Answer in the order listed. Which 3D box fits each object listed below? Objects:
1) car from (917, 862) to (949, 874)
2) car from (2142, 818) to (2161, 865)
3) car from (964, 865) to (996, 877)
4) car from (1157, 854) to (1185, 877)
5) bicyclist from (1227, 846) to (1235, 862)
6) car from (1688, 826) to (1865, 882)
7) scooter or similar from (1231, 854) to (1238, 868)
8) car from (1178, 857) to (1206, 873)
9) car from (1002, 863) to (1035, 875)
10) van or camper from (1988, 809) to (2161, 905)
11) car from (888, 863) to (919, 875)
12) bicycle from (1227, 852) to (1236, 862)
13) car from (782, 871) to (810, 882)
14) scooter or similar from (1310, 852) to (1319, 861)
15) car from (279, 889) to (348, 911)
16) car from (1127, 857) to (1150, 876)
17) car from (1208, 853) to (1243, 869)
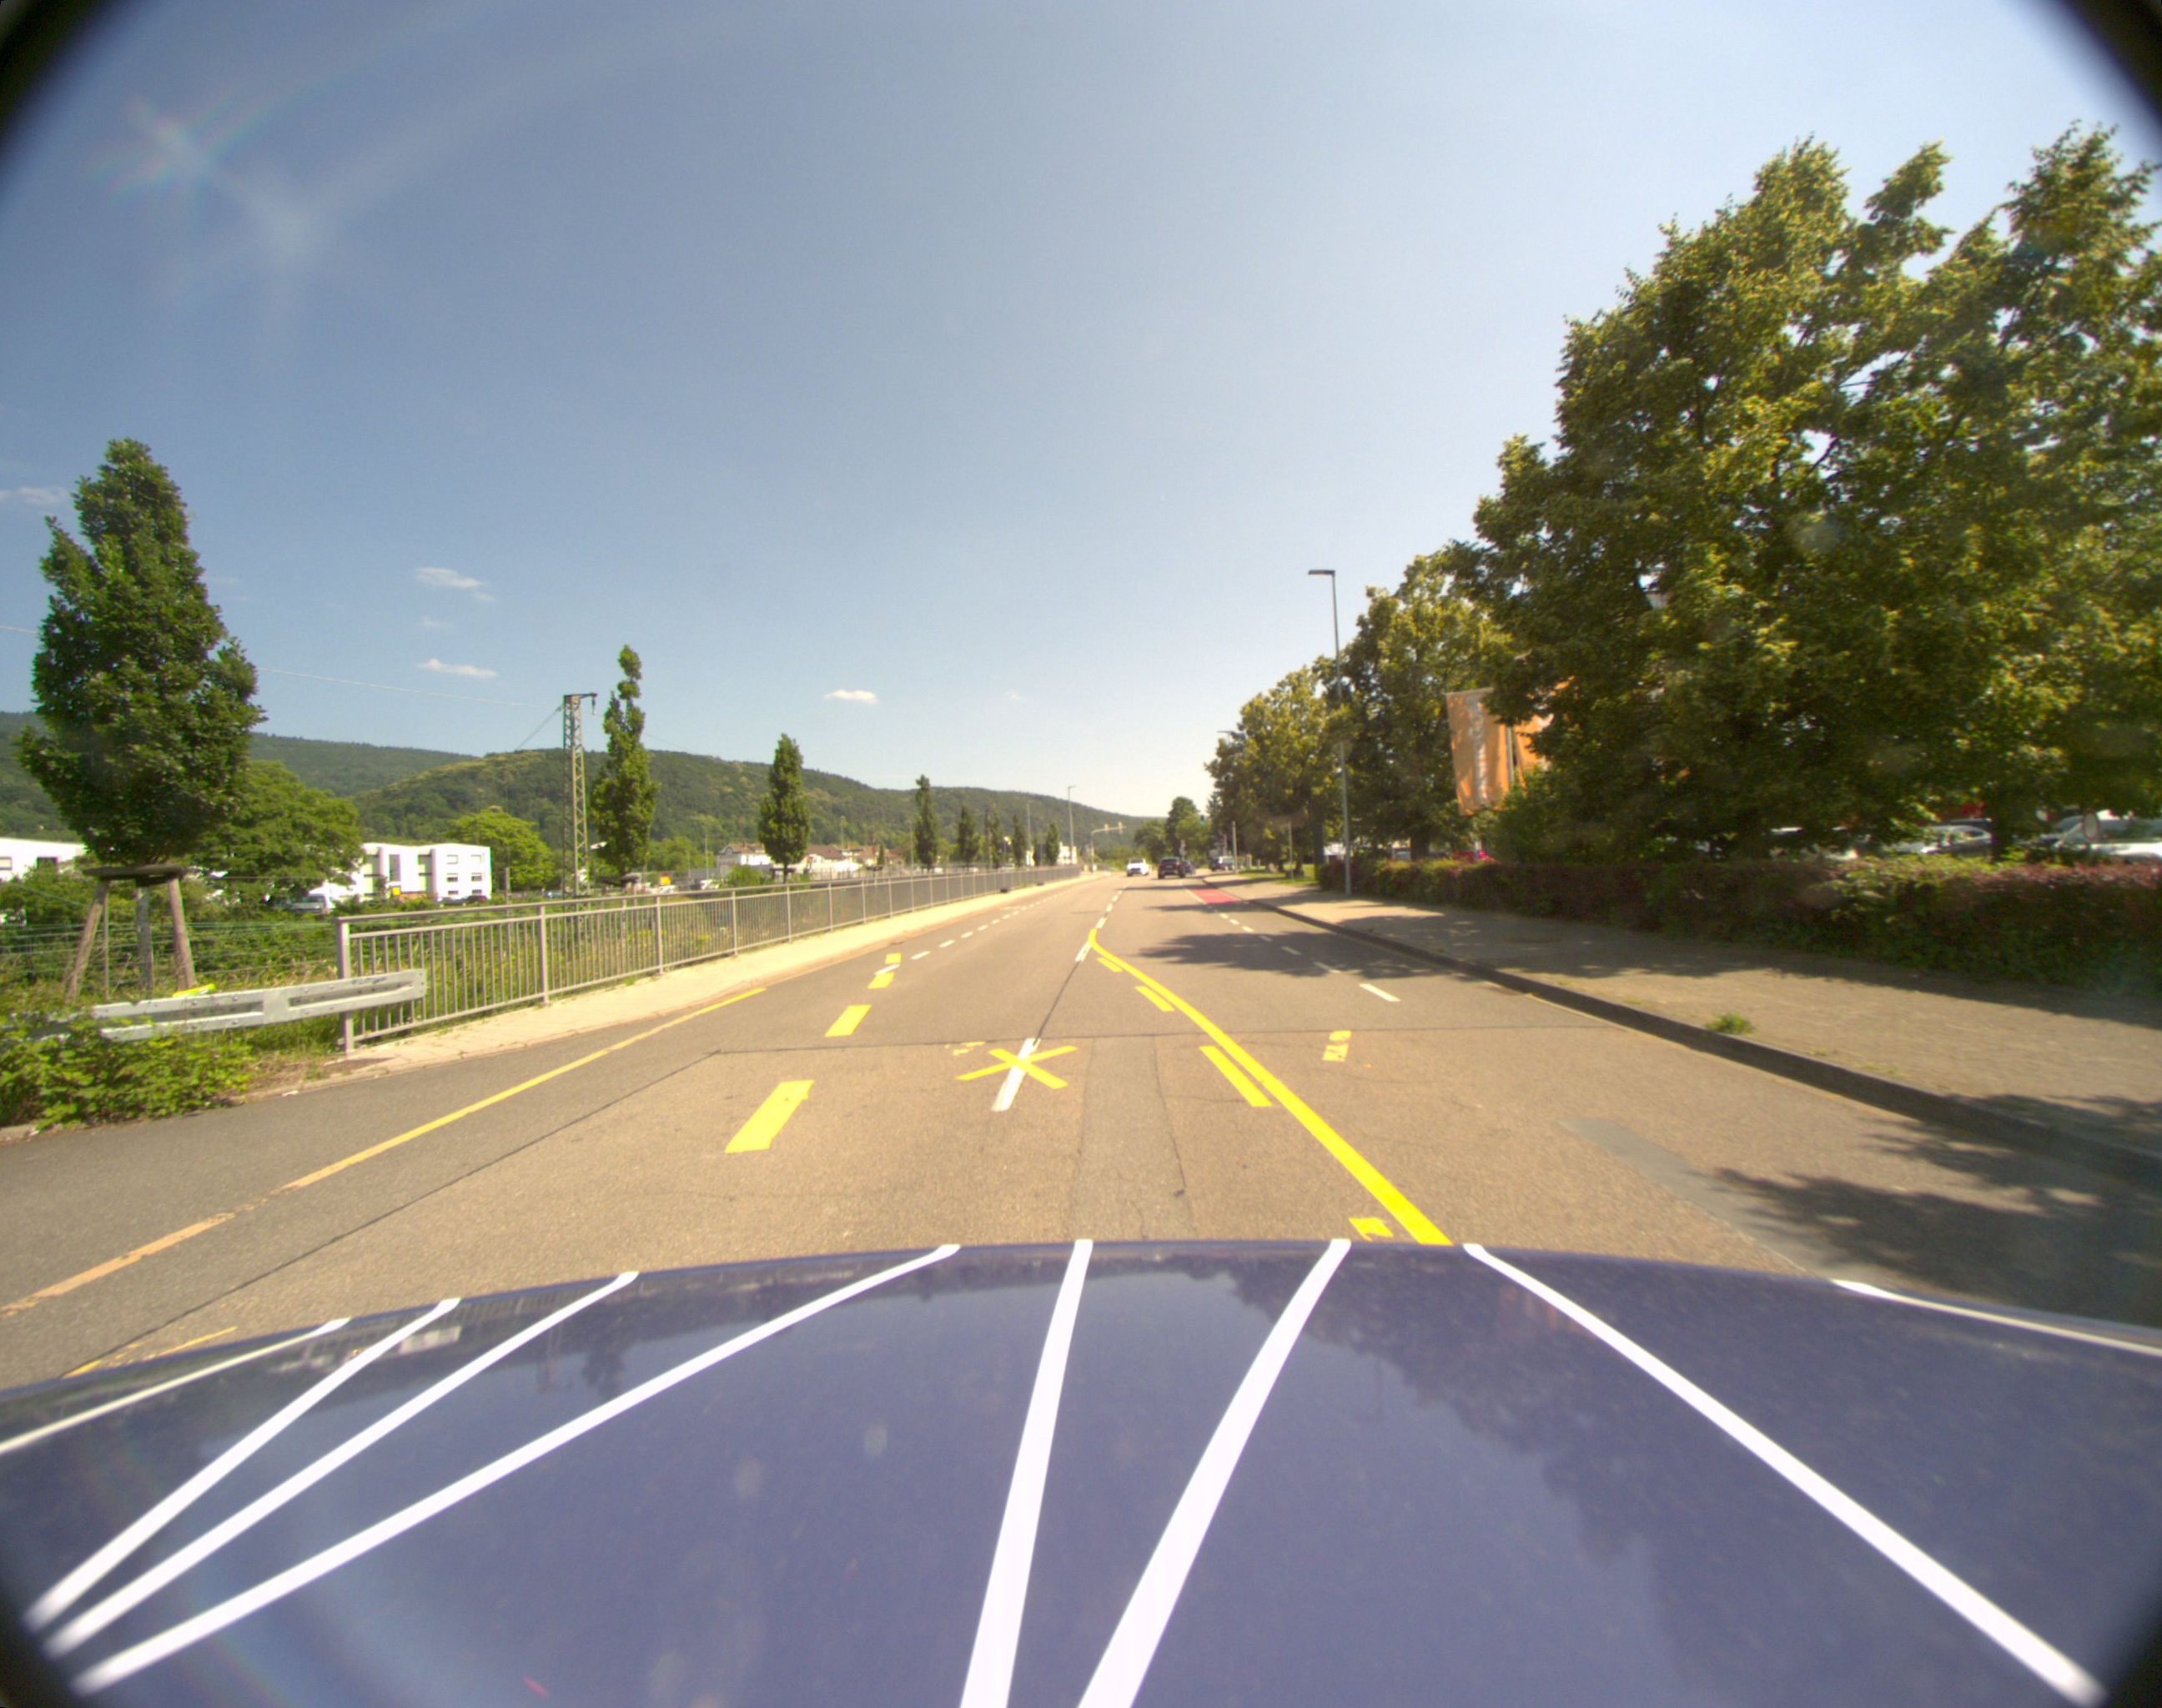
[{"bbox_3d":[-22.445,2.133,115.172,4.432,1.616,1.740,-3,-1,25],"label":"car"},{"bbox_3d":[32.657,-0.413,21.091,1.591,1.368,3.342,-2,-1,-11],"label":"car"},{"bbox_3d":[-14.737,2.466,110.870,4.431,1.616,1.740,-3,-1,30],"label":"car"},{"bbox_3d":[7.038,0.872,59.020,1.954,1.685,4.616,-2,-1,8],"label":"car"},{"bbox_3d":[16.755,0.000,84.651,0.711,1.778,0.810,-2,0,20],"label":"bicyclist"},{"bbox_3d":[24.145,0.041,26.603,1.719,1.725,4.242,-2,-1,-18],"label":"car"},{"bbox_3d":[13.460,0.582,66.581,0.472,1.177,1.367,-2,0,18],"label":"scooter or similar"},{"bbox_3d":[10.184,0.964,69.555,1.658,1.372,4.006,-3,-1,21],"label":"car"},{"bbox_3d":[-8.803,2.170,107.215,4.399,1.460,1.740,-3,-1,30],"label":"car"},{"bbox_3d":[21.091,0.001,15.214,4.286,1.729,1.998,-2,0,-13],"label":"van or camper"},{"bbox_3d":[-27.543,2.383,117.705,4.432,1.616,1.740,-3,-1,25],"label":"car"},{"bbox_3d":[16.797,0.340,84.687,0.698,1.098,1.758,-1,0,20],"label":"bicycle"},{"bbox_3d":[-48.759,3.928,129.929,4.432,1.616,1.740,-4,-3,26],"label":"car"},{"bbox_3d":[29.473,0.312,96.054,0.499,1.117,1.507,-3,0,40],"label":"scooter or similar"},{"bbox_3d":[-84.111,5.008,83.393,1.997,2.100,4.996,-2,-1,12],"label":"car"},{"bbox_3d":[5.656,1.210,75.262,1.998,1.709,4.634,-2,-1,1],"label":"car"},{"bbox_3d":[15.066,0.705,79.155,1.781,1.487,4.732,-3,-1,34],"label":"car"}]
